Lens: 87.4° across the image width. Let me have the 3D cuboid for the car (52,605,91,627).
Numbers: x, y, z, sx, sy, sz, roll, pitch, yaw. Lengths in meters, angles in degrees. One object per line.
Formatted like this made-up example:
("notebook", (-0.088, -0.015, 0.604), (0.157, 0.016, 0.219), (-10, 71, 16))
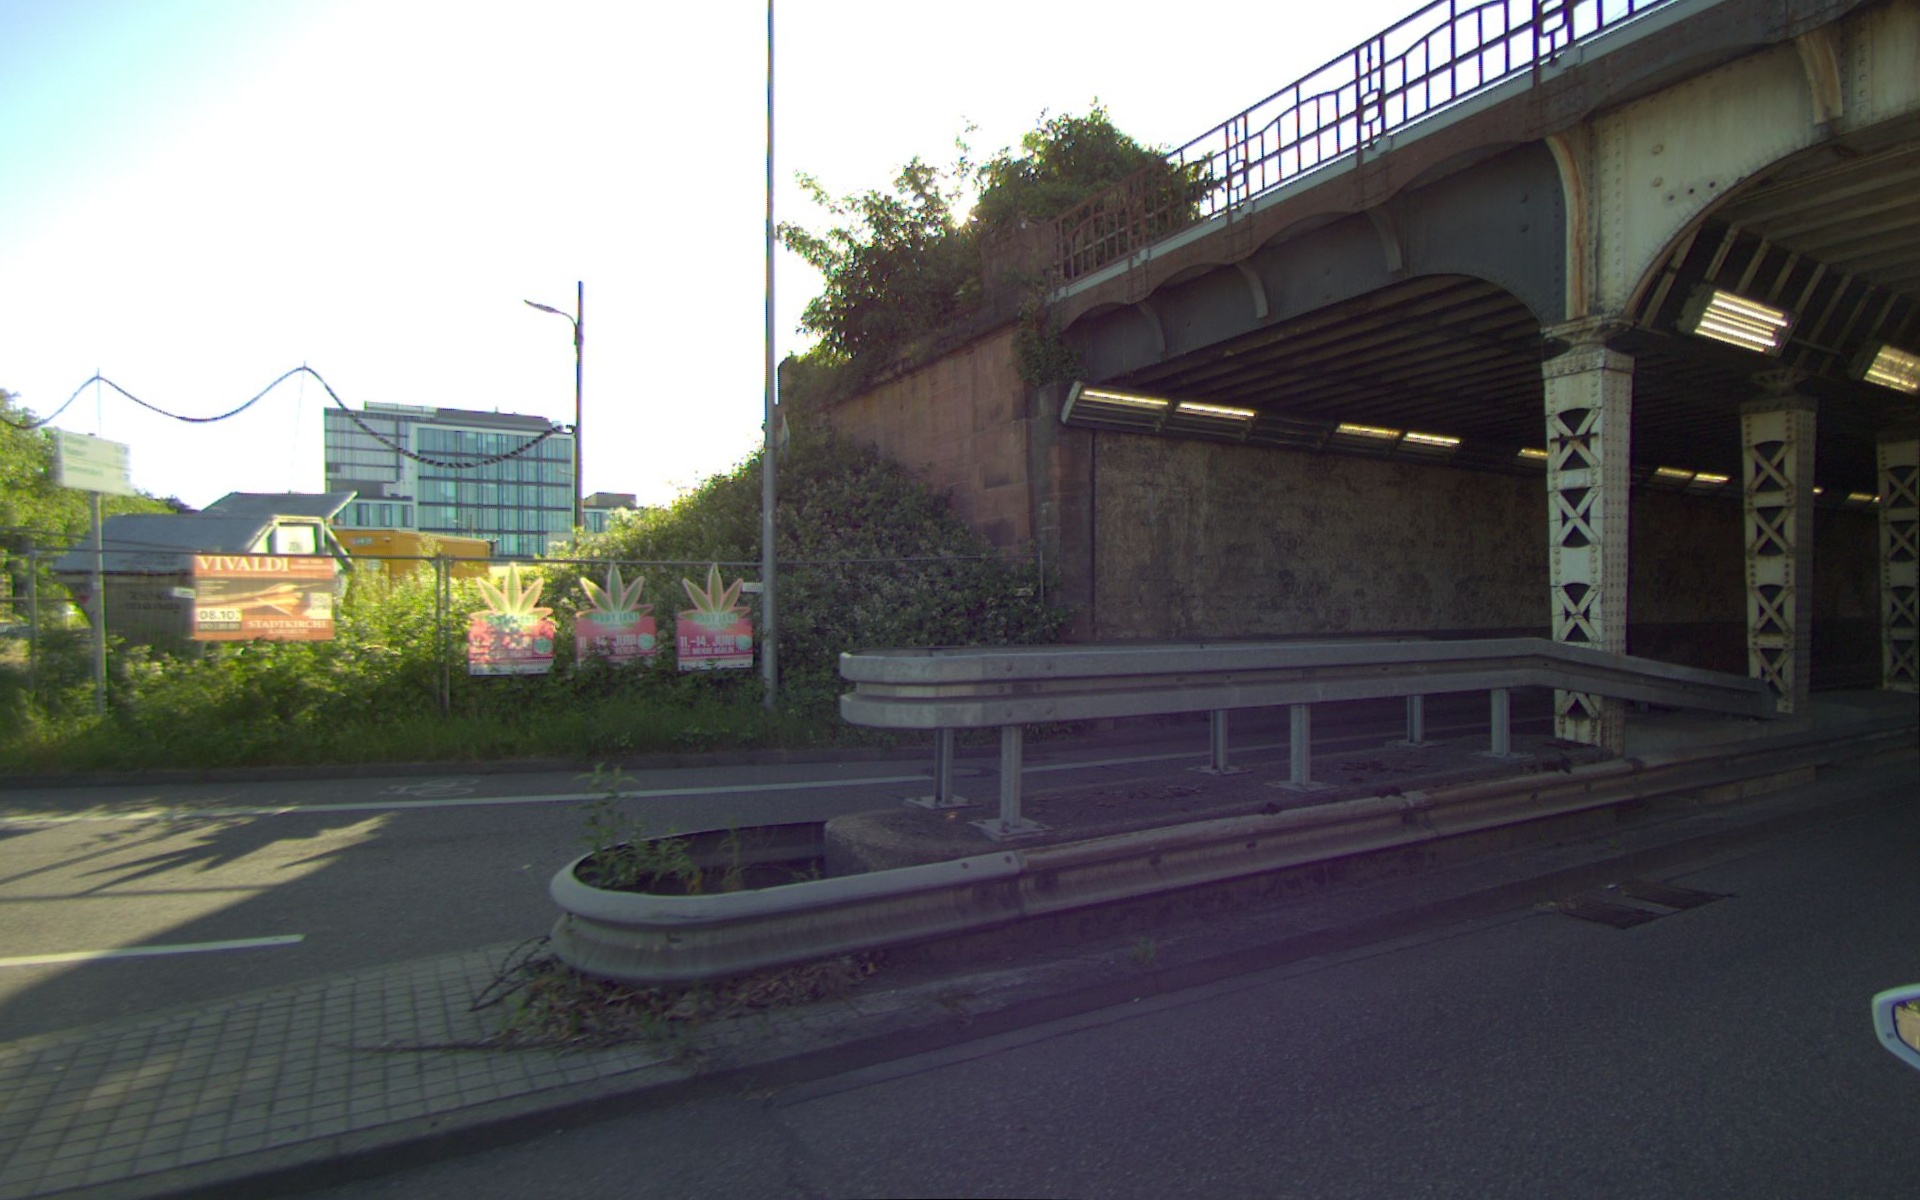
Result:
("car", (-63.302, 1.103, 71.600), (1.738, 1.496, 3.957), (0, 0, -37))

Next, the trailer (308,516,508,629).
("trailer", (-18.133, -0.799, 33.609), (2.946, 3.336, 6.668), (1, 0, 0))
